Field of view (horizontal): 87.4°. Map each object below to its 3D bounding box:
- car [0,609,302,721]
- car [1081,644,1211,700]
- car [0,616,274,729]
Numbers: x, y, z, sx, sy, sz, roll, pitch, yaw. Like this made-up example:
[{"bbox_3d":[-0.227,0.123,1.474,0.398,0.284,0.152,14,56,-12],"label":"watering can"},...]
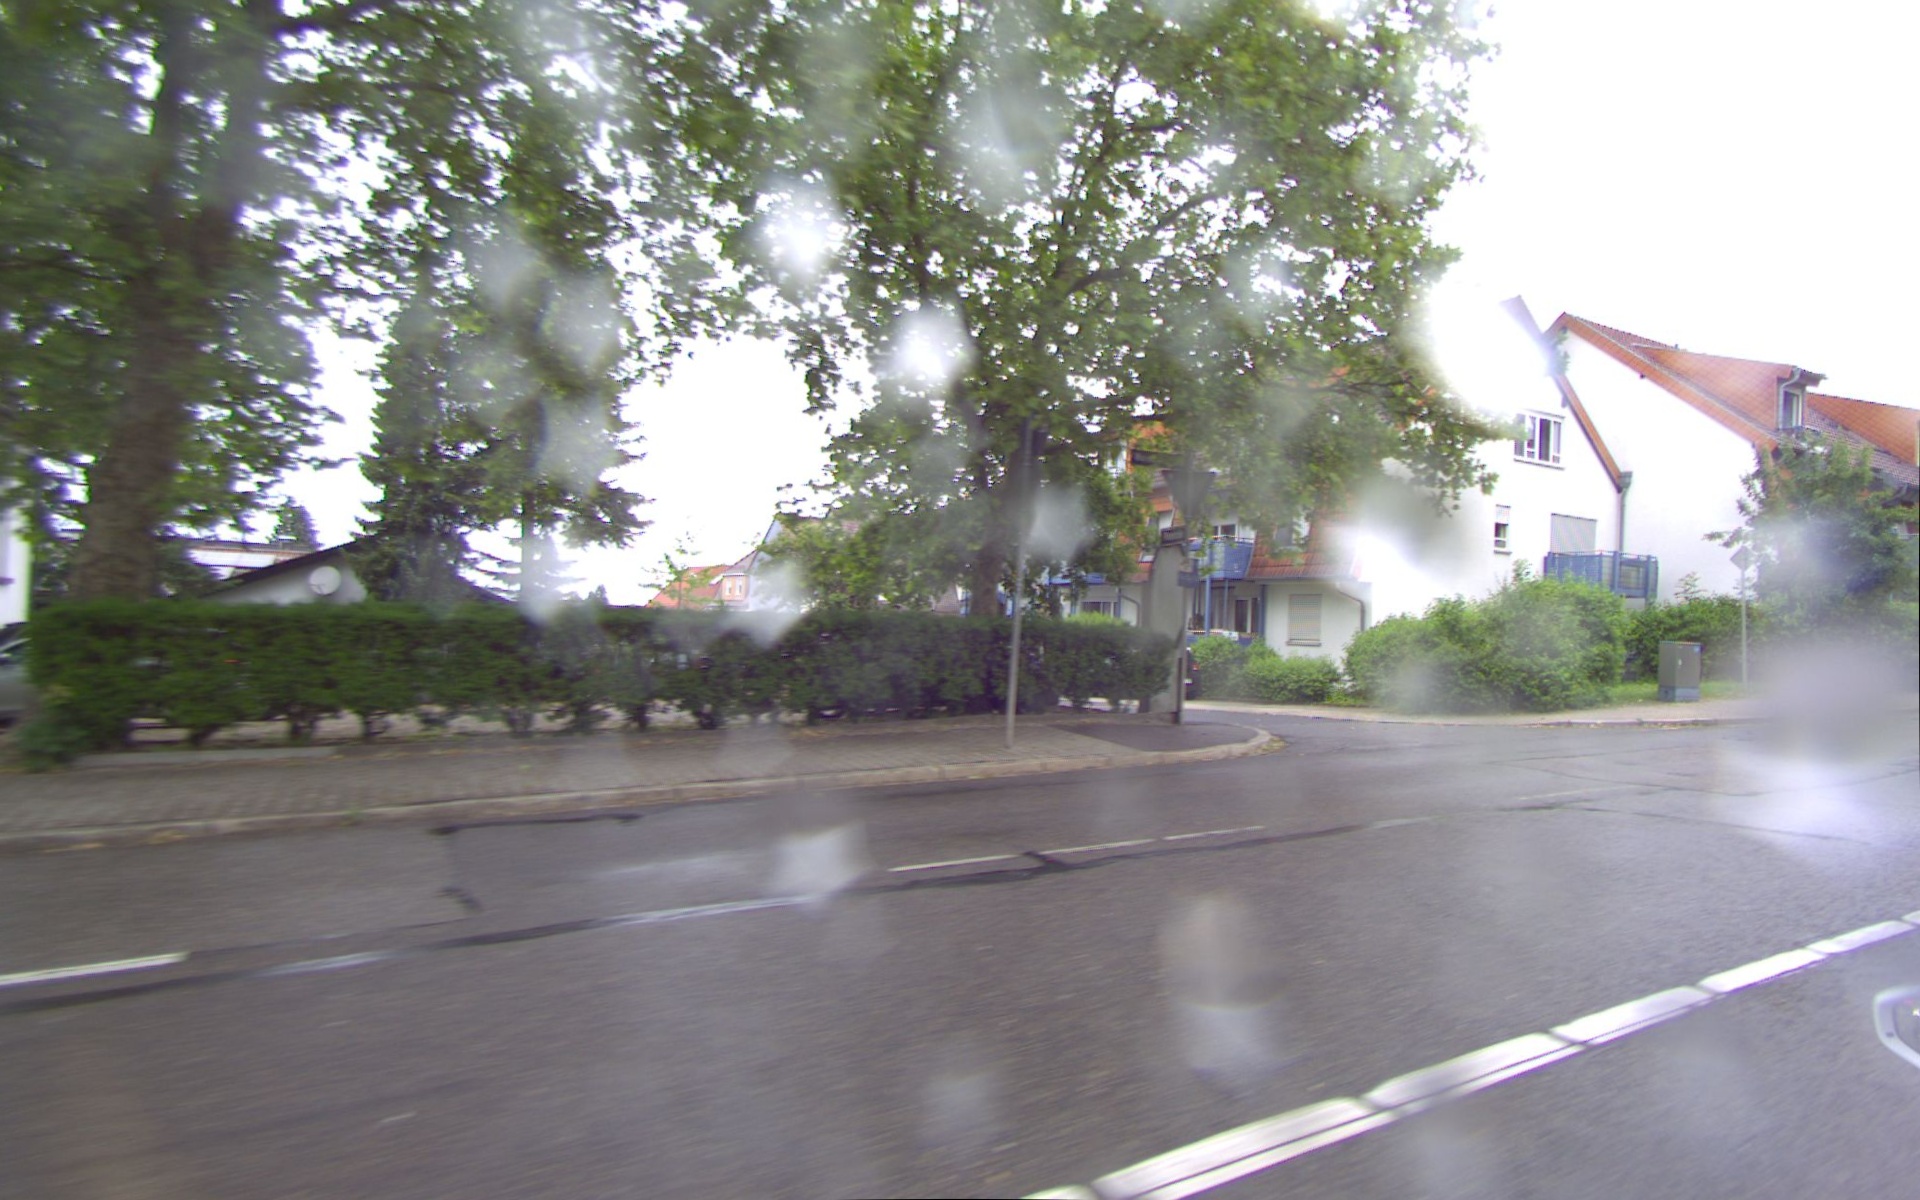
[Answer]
[{"bbox_3d":[-13.759,1.050,17.050,4.209,1.707,1.984,1,-2,-31],"label":"car"},{"bbox_3d":[5.164,1.977,28.386,1.713,1.461,3.978,1,-3,-23],"label":"car"},{"bbox_3d":[-12.273,1.014,14.059,4.236,1.459,1.743,3,-5,-31],"label":"car"}]
